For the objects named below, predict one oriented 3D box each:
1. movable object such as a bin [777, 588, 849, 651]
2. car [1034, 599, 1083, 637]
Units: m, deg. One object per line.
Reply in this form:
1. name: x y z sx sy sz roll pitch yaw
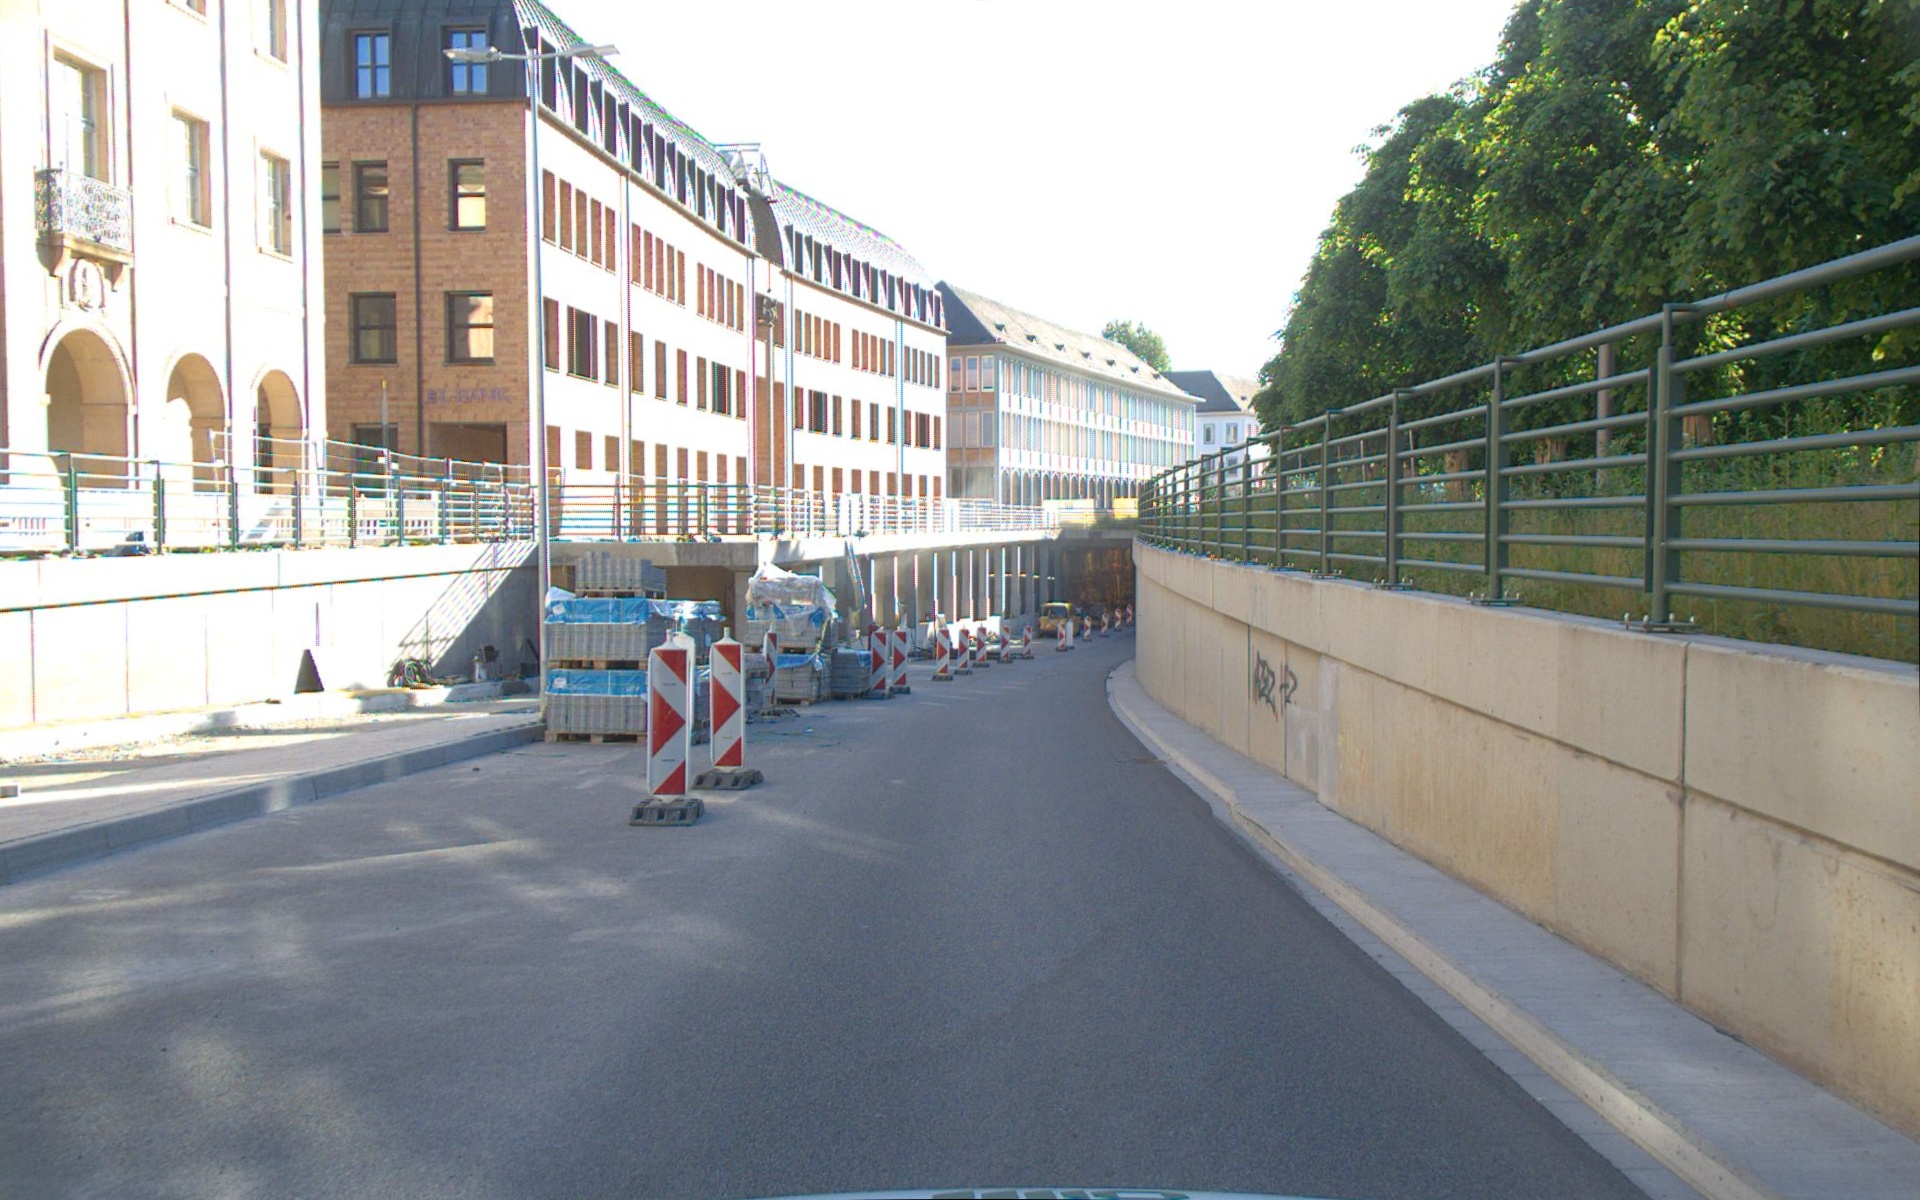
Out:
1. movable object such as a bin: -4.936 0.640 55.793 1.845 2.022 3.161 1 0 5
2. car: 5.194 0.923 86.788 1.808 1.806 4.439 1 2 13
